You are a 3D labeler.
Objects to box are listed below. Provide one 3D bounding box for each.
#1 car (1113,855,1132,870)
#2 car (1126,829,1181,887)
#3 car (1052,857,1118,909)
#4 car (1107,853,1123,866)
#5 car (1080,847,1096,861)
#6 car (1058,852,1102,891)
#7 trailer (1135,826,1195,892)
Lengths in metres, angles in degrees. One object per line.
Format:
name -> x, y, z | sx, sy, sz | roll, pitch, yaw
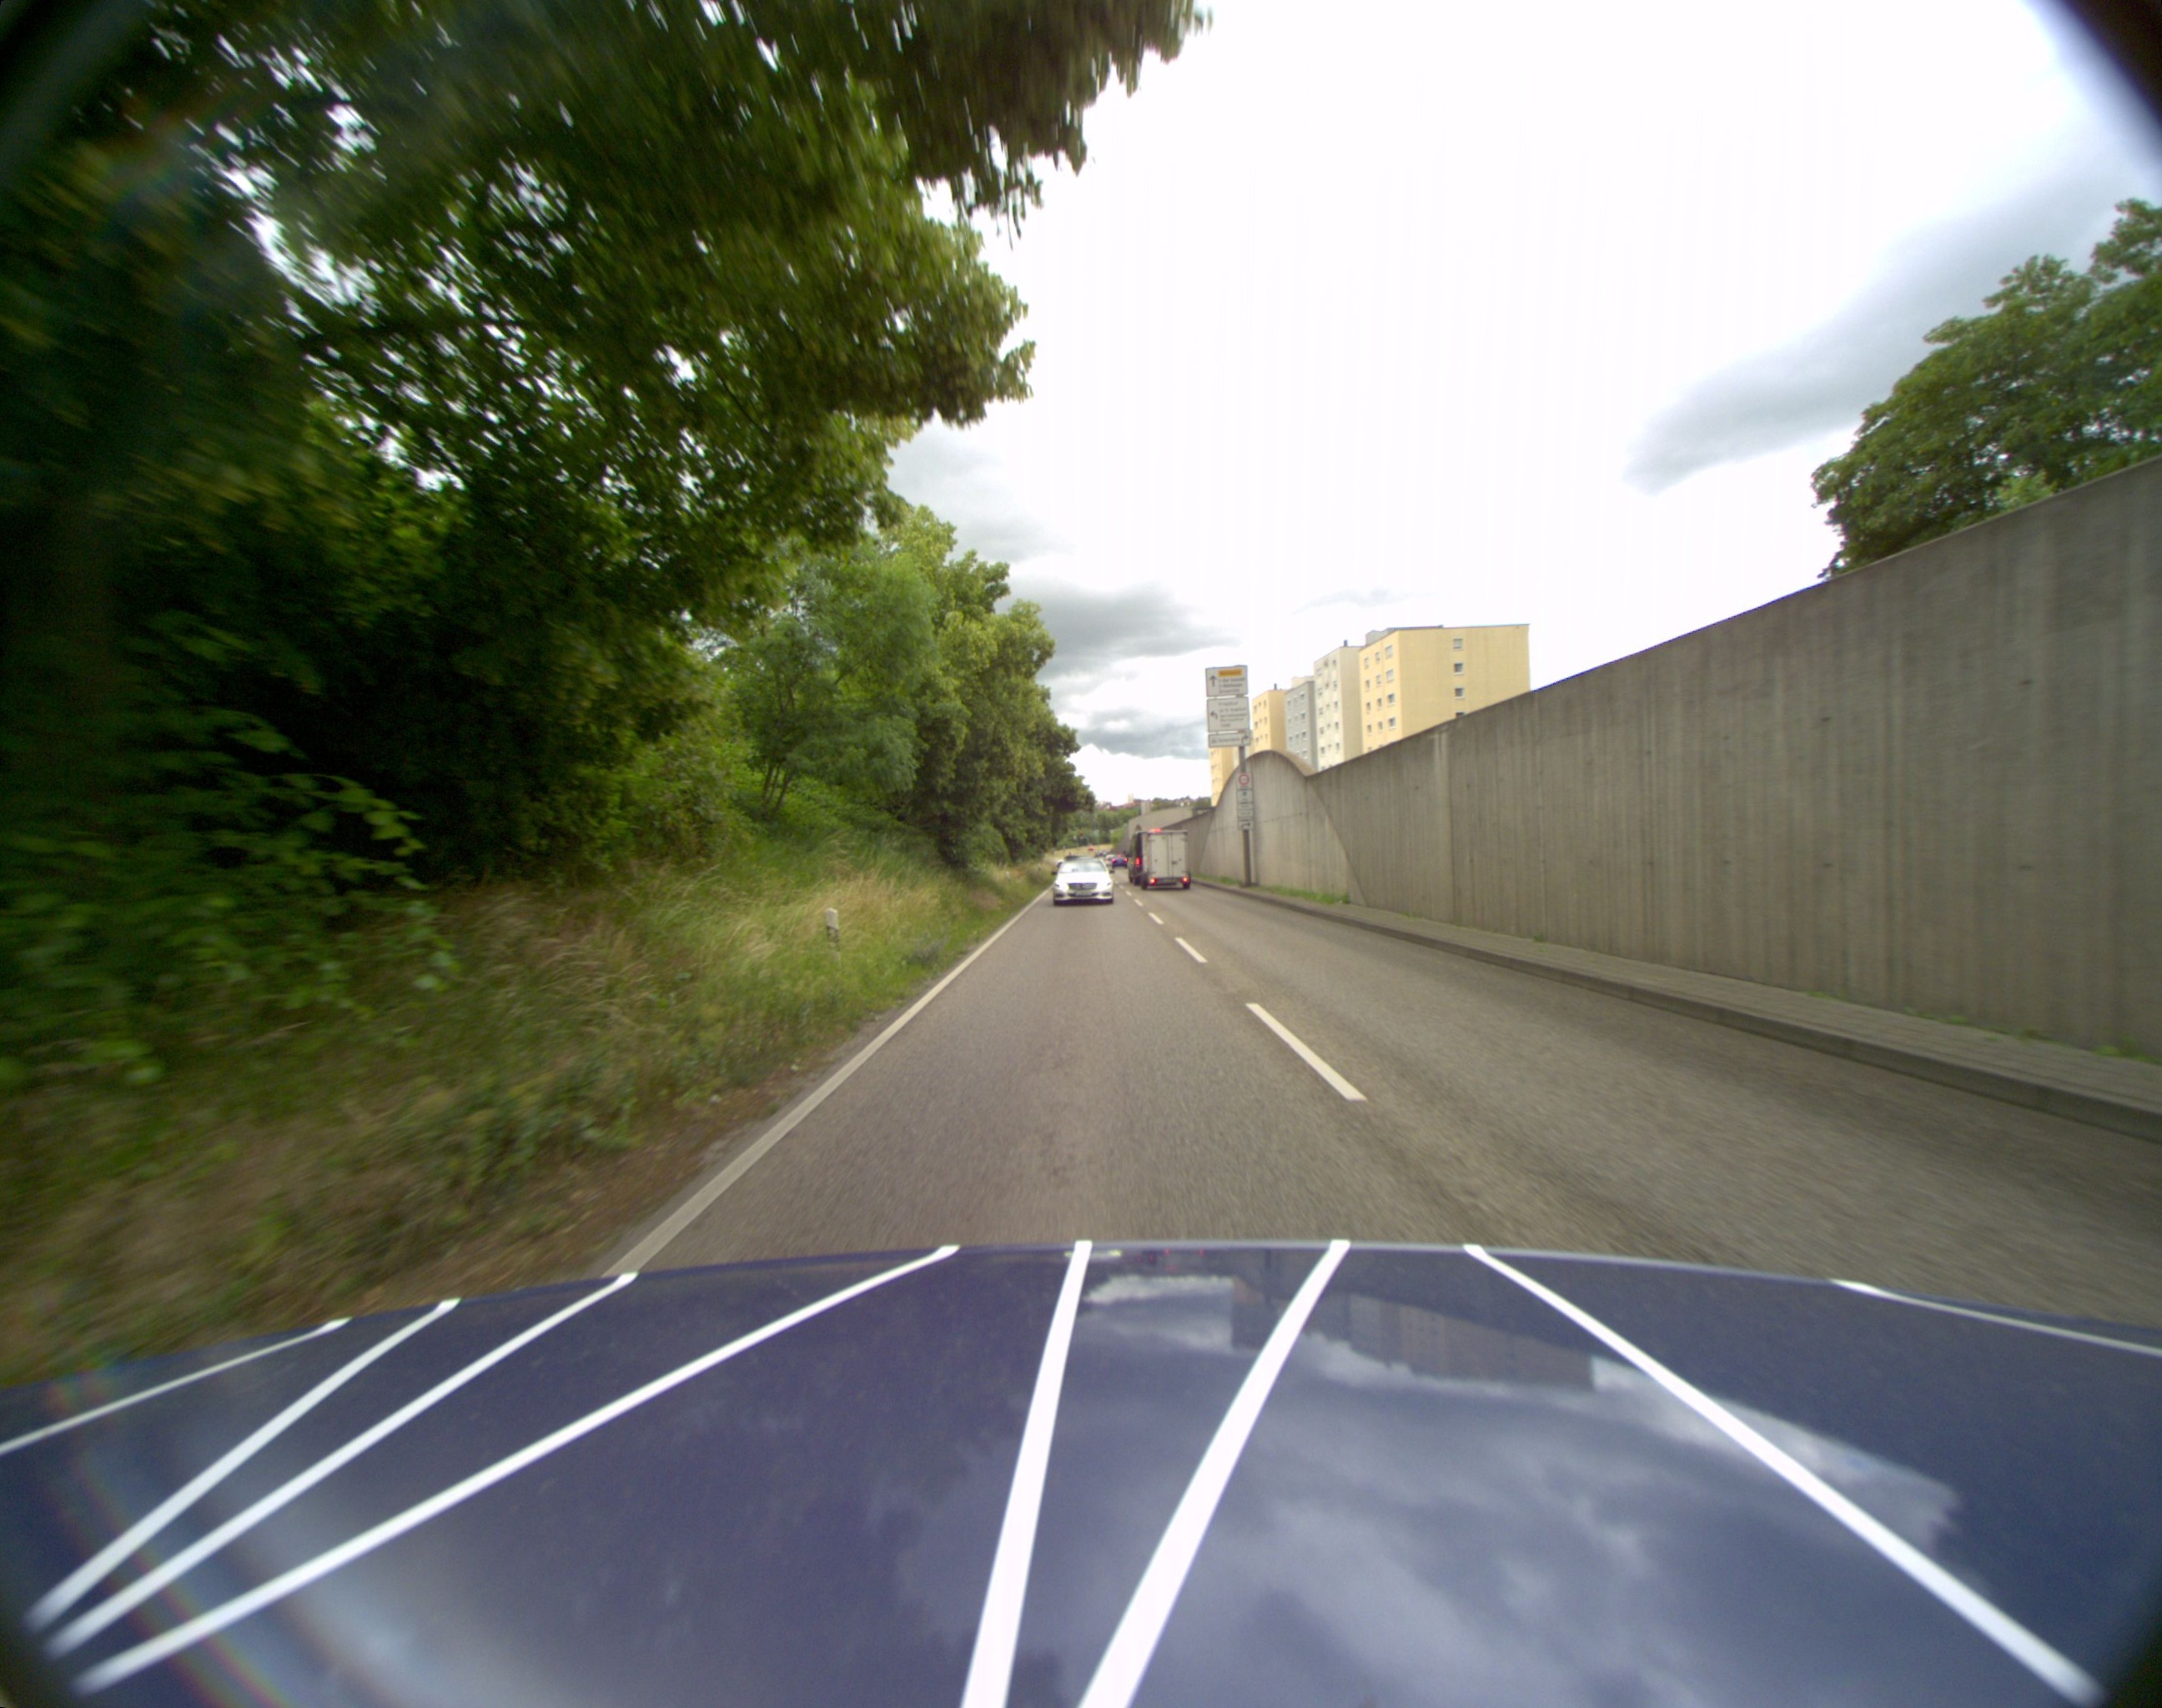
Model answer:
car -> 4.415, 0.902, 81.825 | 1.772, 1.487, 4.208 | -3, 0, 0
car -> 3.577, 0.152, 38.664 | 2.115, 2.615, 7.417 | -2, 0, 1
car -> 0.055, 0.882, 24.880 | 1.905, 1.471, 4.093 | -2, 0, -3
car -> 4.215, 0.717, 94.347 | 1.920, 1.487, 4.208 | -3, 0, 2
car -> 0.925, -0.039, 99.917 | 1.895, 1.623, 4.424 | -3, 2, 0
car -> -0.102, 0.768, 35.947 | 1.759, 1.532, 3.998 | -5, 2, -2
trailer -> 3.540, 0.194, 32.746 | 2.115, 2.615, 4.371 | -2, 0, 1
